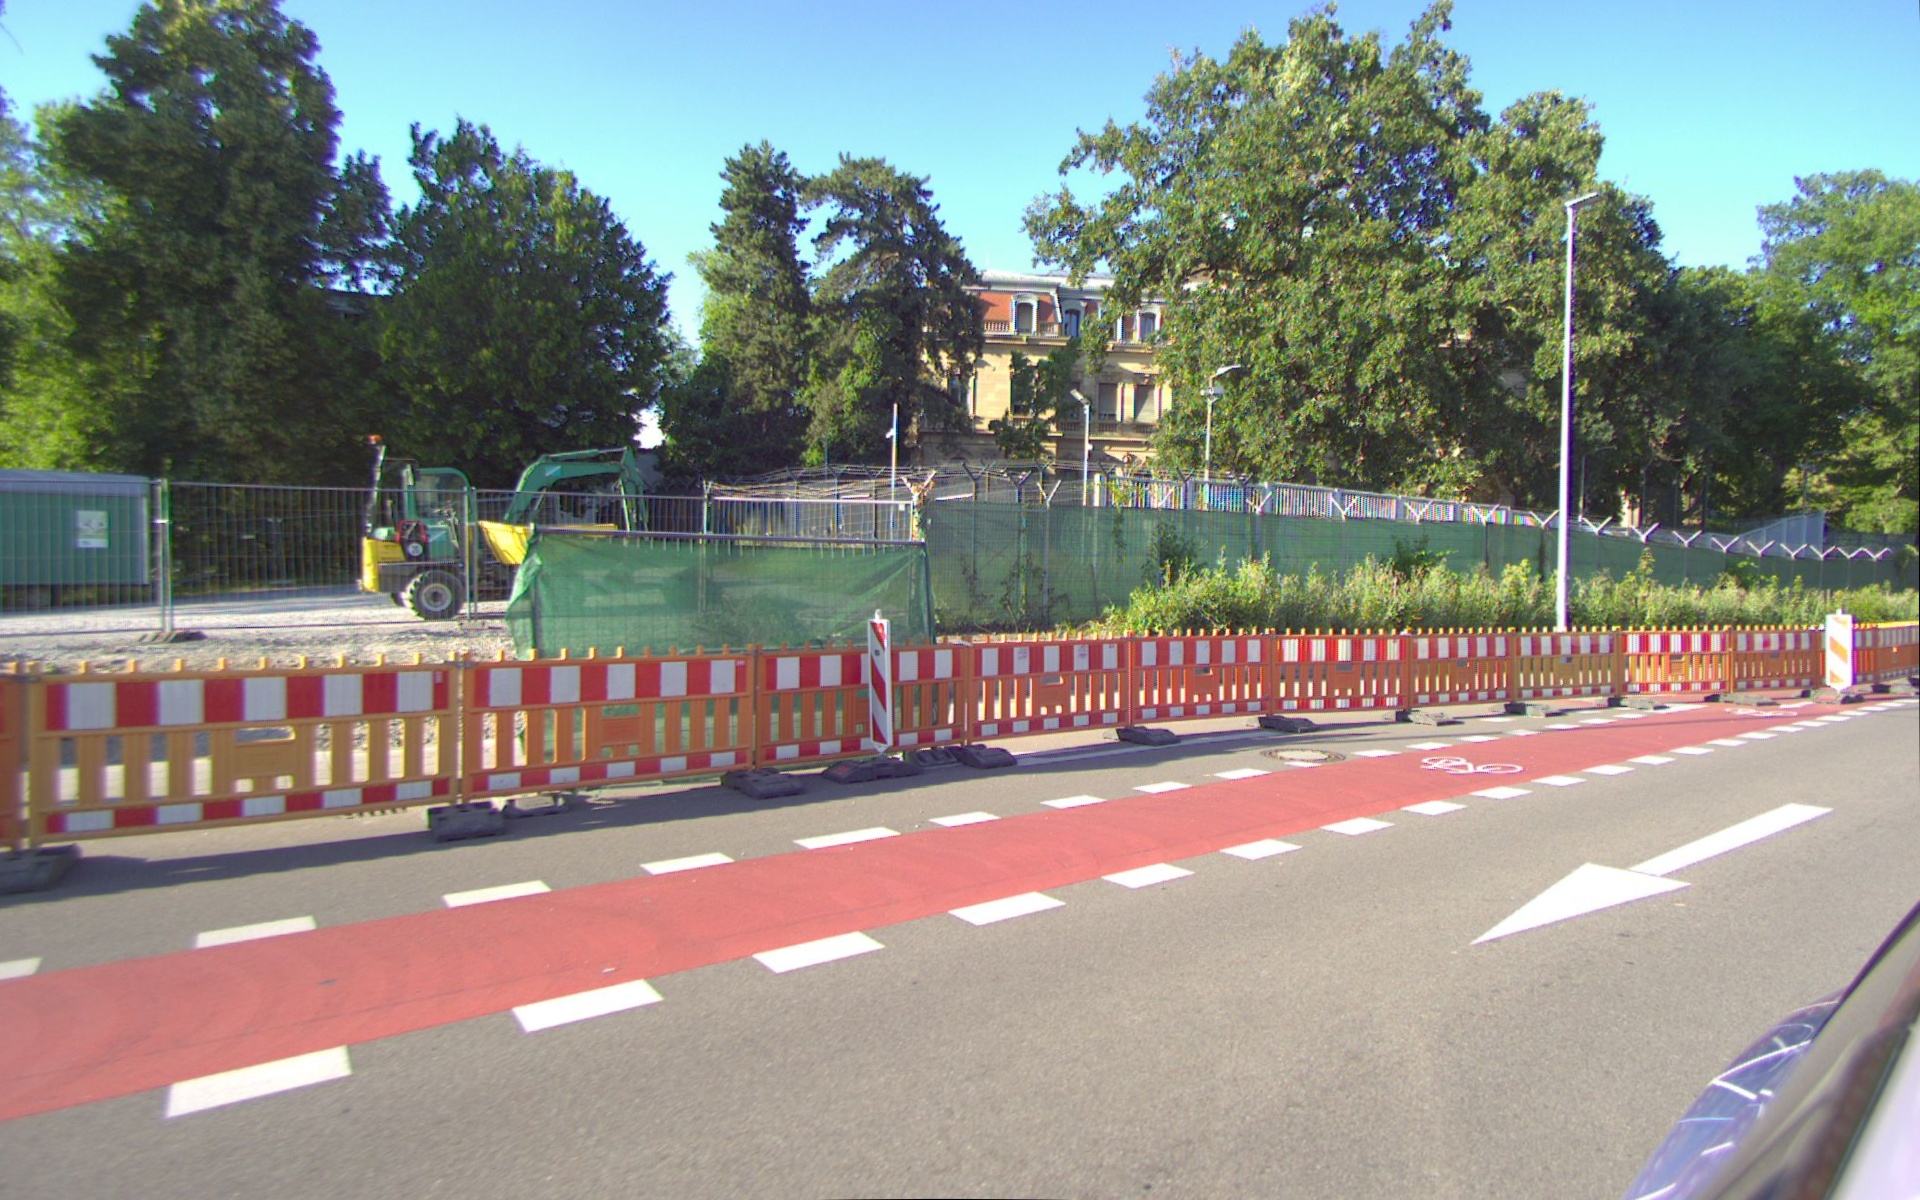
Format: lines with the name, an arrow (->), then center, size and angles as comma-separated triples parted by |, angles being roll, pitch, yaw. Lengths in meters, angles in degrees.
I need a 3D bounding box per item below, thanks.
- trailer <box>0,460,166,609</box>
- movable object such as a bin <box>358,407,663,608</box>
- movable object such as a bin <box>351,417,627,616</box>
trailer -> -20.691, -1.499, 22.982 | 3.918, 3.126, 2.616 | -7, 6, -39
movable object such as a bin -> -9.057, -1.692, 20.525 | 5.390, 3.601, 2.285 | 0, 1, -32
movable object such as a bin -> -7.749, -1.259, 16.783 | 3.919, 2.940, 2.003 | 0, 1, -29
